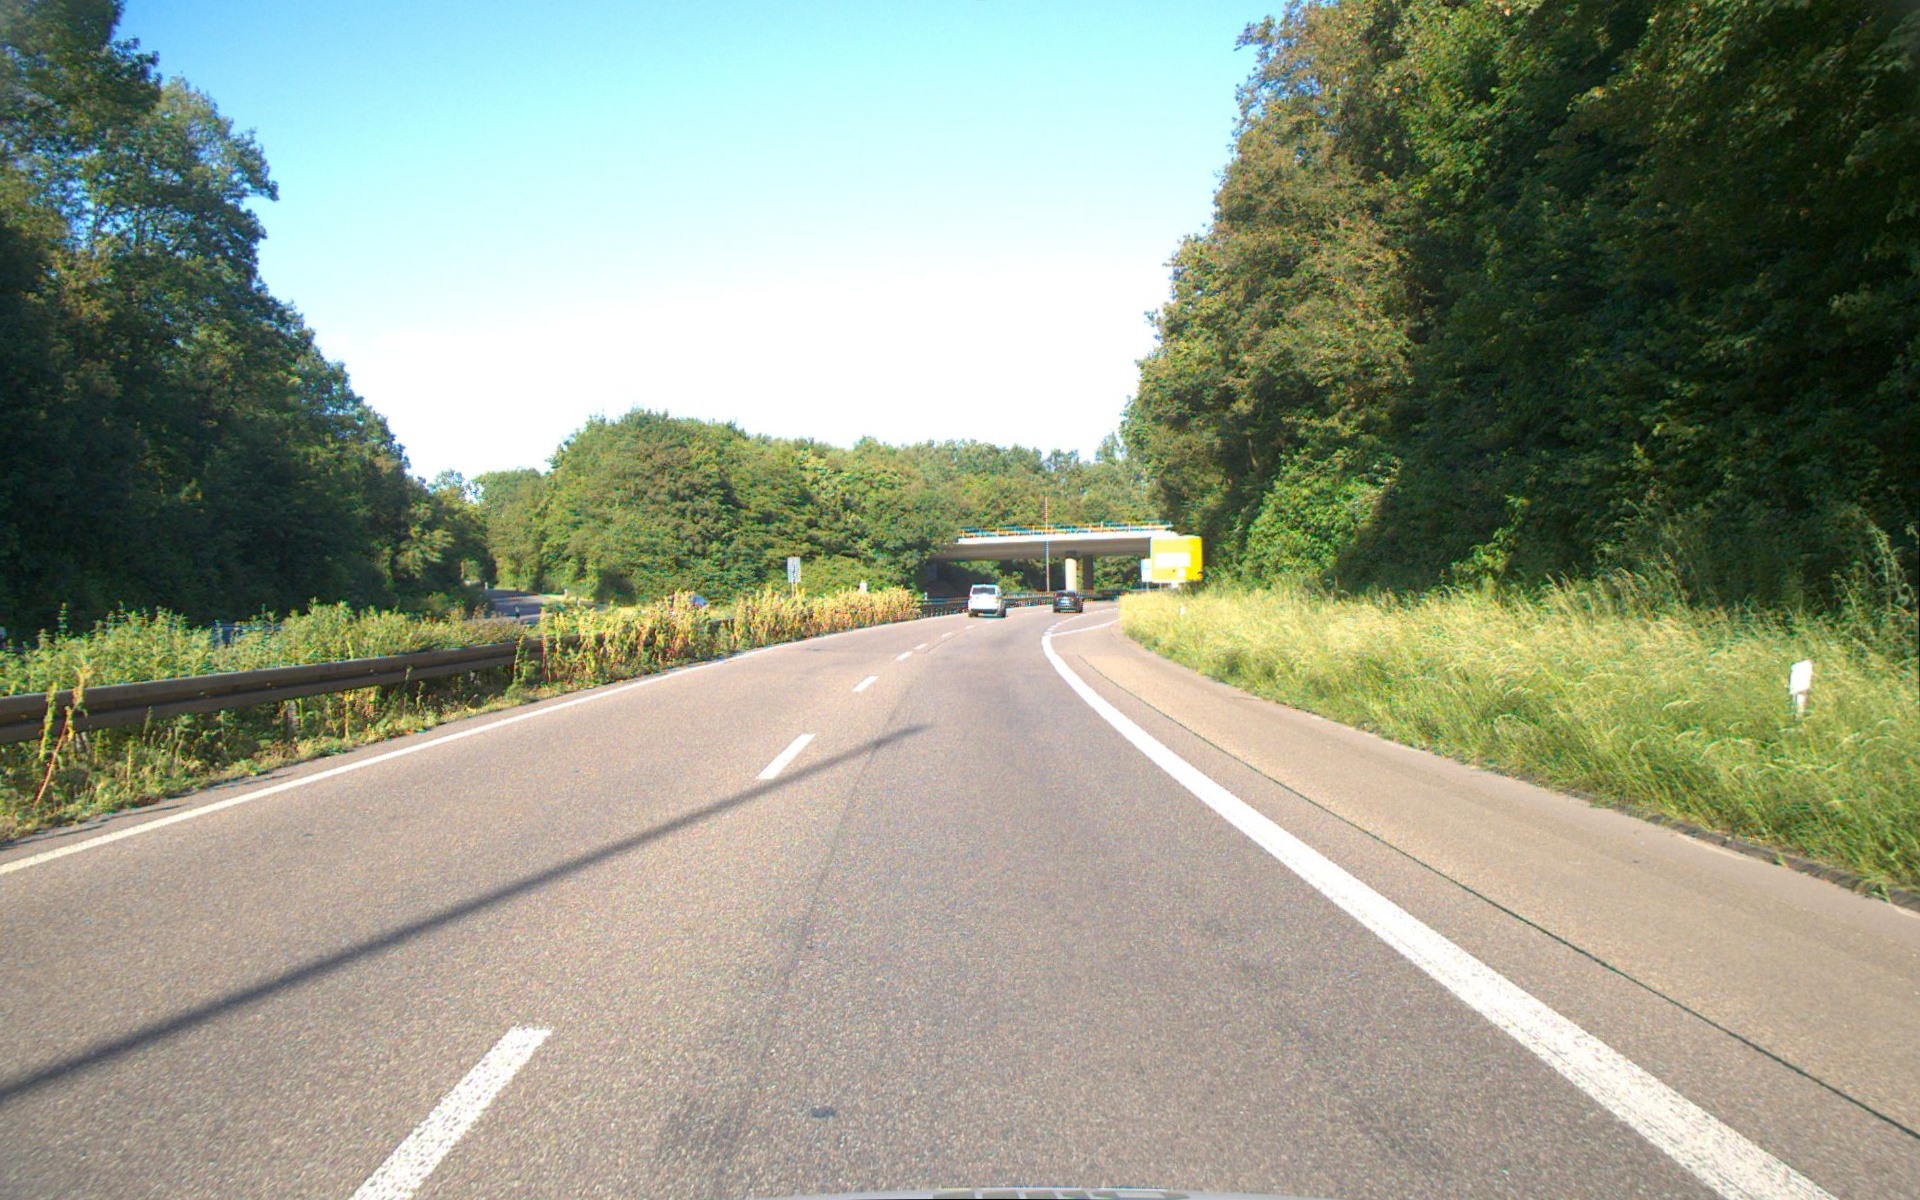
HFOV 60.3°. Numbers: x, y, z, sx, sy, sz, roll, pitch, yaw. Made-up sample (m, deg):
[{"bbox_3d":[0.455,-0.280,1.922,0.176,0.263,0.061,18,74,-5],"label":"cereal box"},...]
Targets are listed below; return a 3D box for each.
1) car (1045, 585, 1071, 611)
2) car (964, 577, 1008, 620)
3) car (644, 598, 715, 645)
[{"bbox_3d":[6.613,-0.162,111.368,1.702,1.691,3.948,-1,0,4],"label":"car"},{"bbox_3d":[1.467,-0.094,92.014,1.951,2.317,4.003,-1,0,8],"label":"car"},{"bbox_3d":[-12.586,0.938,74.540,2.003,2.049,4.765,0,0,5],"label":"car"}]
